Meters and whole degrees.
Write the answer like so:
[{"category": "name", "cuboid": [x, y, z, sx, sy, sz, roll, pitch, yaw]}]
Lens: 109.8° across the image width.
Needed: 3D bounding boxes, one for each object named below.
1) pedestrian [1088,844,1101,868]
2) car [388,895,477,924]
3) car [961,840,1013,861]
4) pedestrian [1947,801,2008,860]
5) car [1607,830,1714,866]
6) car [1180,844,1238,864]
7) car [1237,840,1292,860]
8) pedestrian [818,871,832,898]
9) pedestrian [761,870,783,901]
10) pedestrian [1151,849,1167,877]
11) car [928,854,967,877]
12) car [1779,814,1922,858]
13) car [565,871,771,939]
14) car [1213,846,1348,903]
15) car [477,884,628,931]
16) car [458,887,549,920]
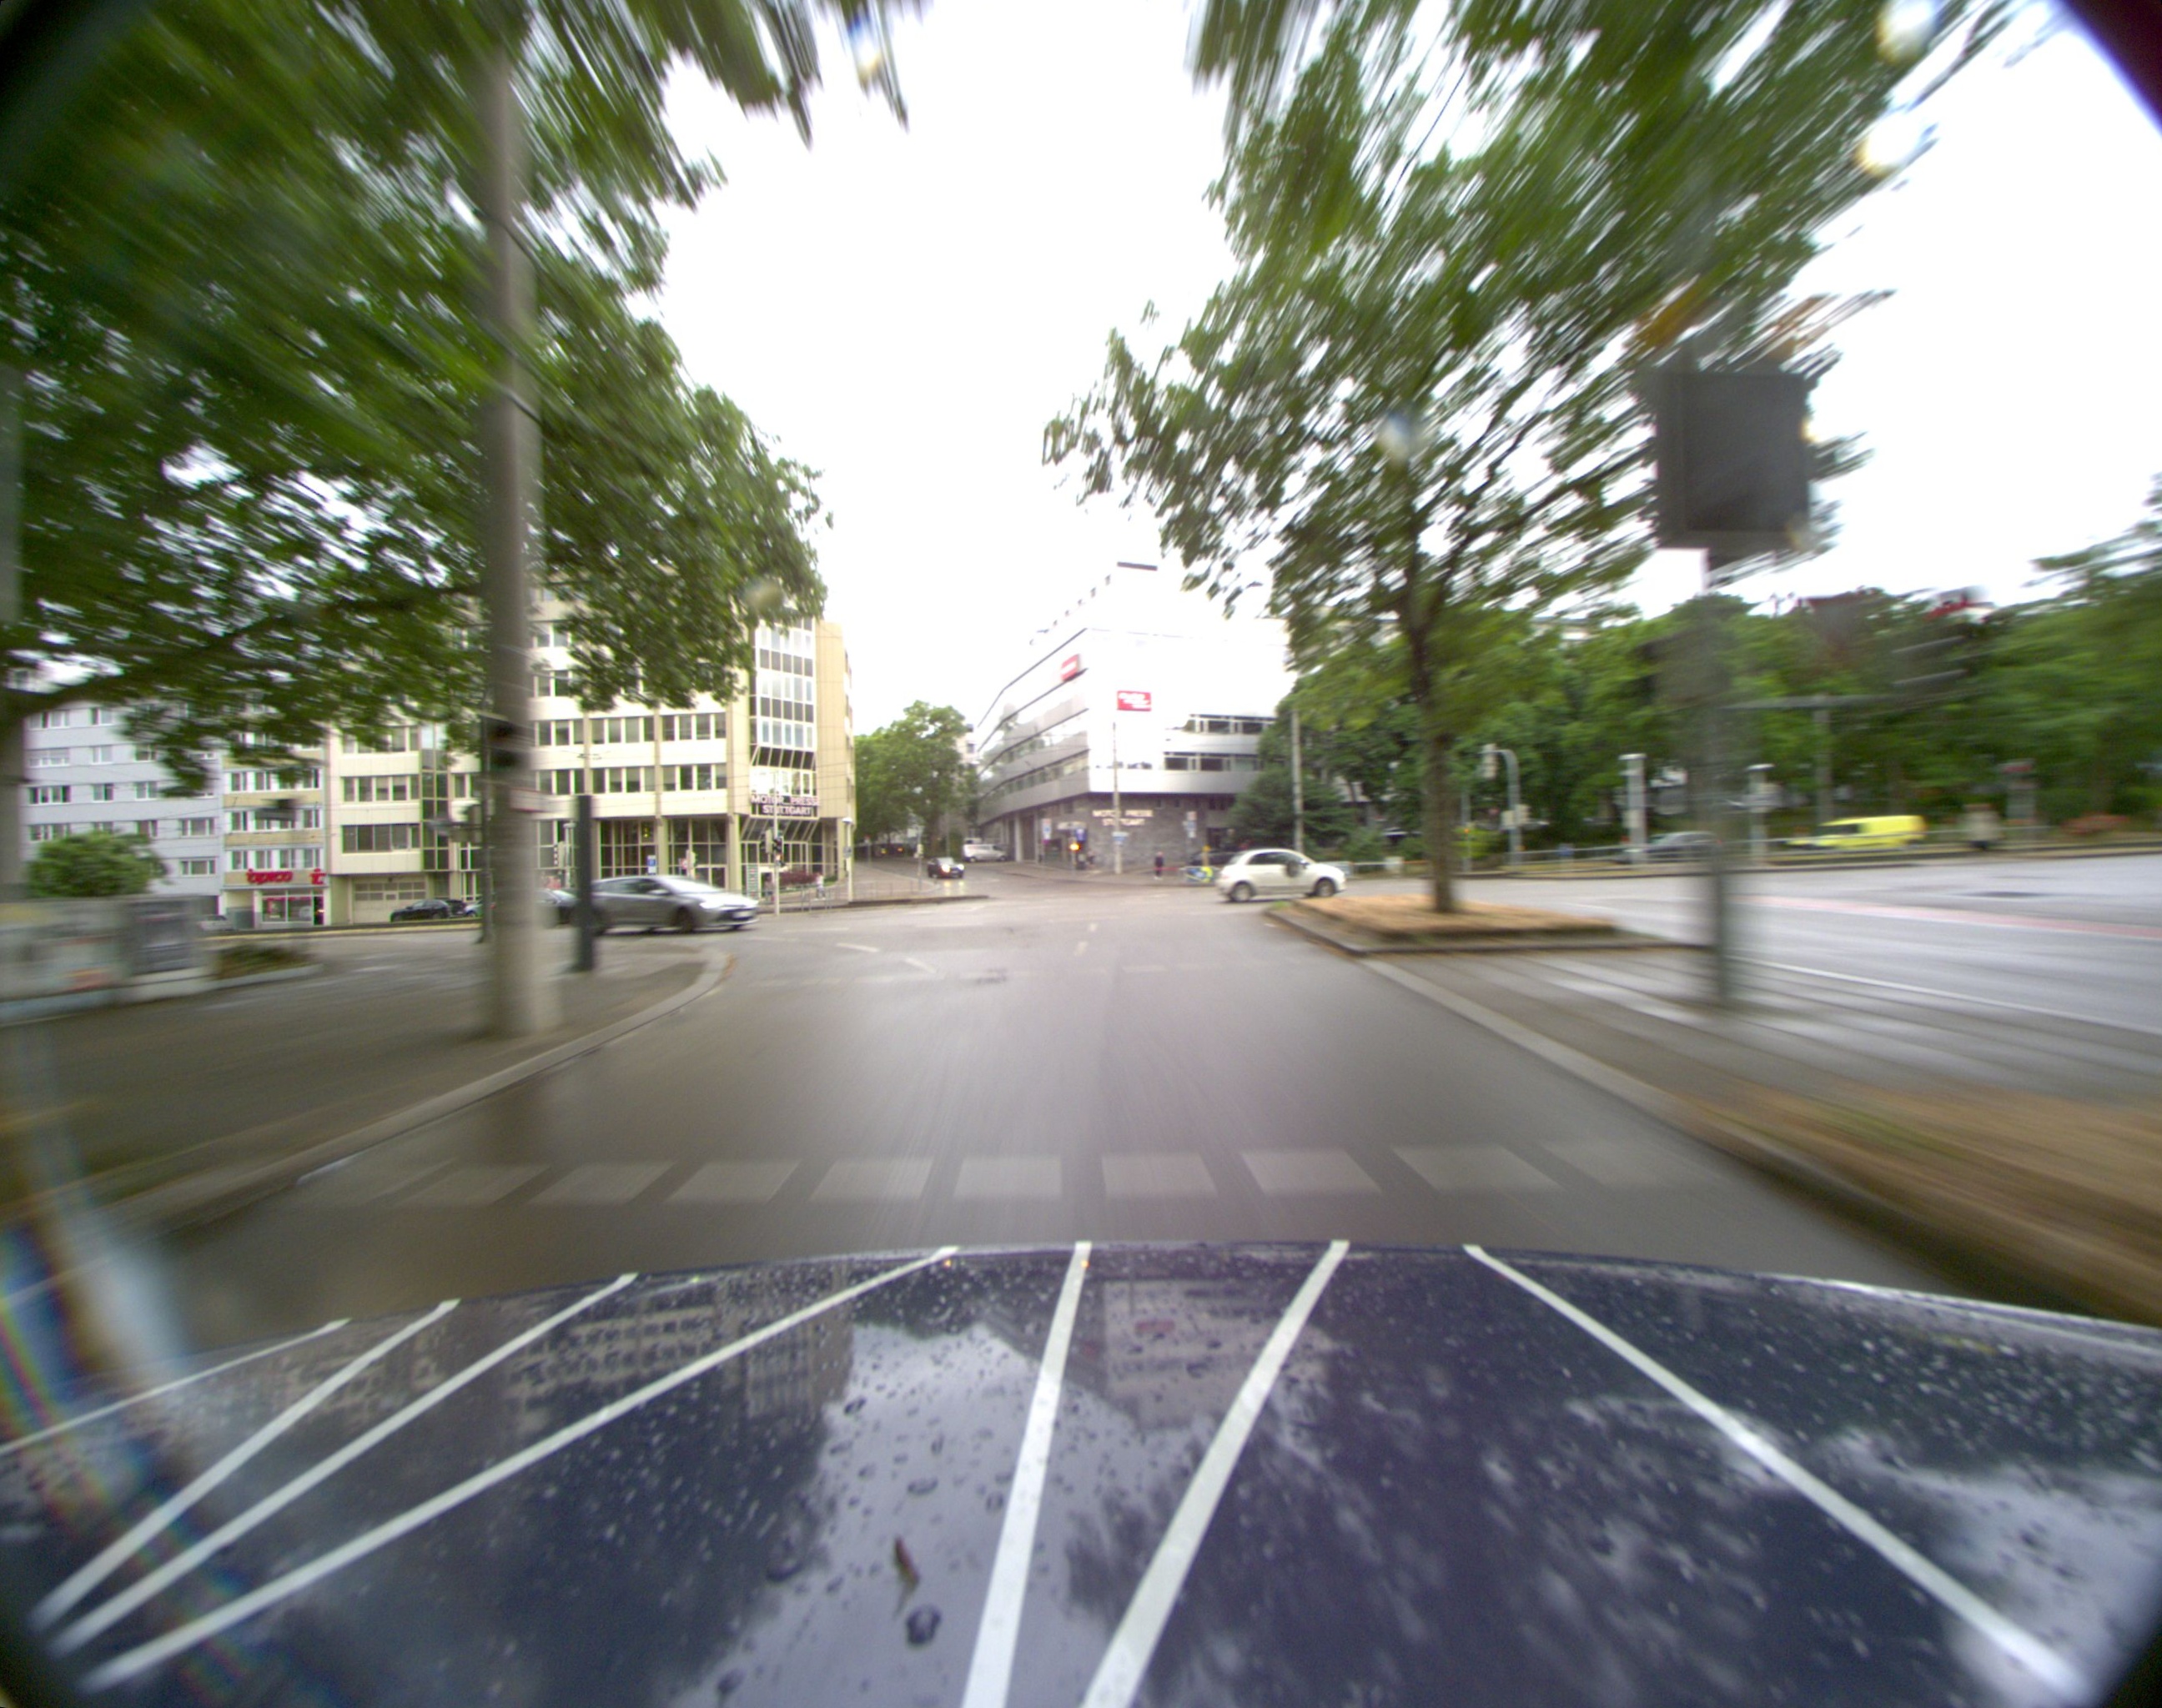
[{"category": "pedestrian", "cuboid": [1.103, 0.145, 61.284, 0.761, 1.850, 0.719, -5, 1, -18]}, {"category": "car", "cuboid": [-40.008, 3.396, 46.939, 4.073, 1.504, 1.802, -3, 0, 6]}, {"category": "car", "cuboid": [-10.332, -0.372, 83.451, 5.416, 2.001, 1.998, -2, -2, -16]}, {"category": "pedestrian", "cuboid": [28.776, -0.740, 24.389, 0.868, 1.792, 0.872, -3, 0, -5]}, {"category": "car", "cuboid": [28.541, -0.275, 37.502, 3.676, 1.536, 1.927, -2, -1, 6]}, {"category": "car", "cuboid": [10.187, -0.007, 60.536, 4.098, 1.422, 1.875, -3, 0, -24]}, {"category": "car", "cuboid": [15.126, -0.331, 62.707, 4.004, 1.422, 1.875, -3, 0, -24]}, {"category": "pedestrian", "cuboid": [-15.917, 1.864, 47.214, 0.720, 1.629, 0.759, -2, 1, -21]}, {"category": "pedestrian", "cuboid": [-18.467, 1.871, 45.374, 0.829, 1.776, 0.761, -2, 1, 26]}, {"category": "pedestrian", "cuboid": [5.257, 0.593, 51.220, 0.720, 1.850, 0.847, -3, 1, -21]}, {"category": "car", "cuboid": [-11.058, 0.915, 62.701, 2.002, 1.572, 4.876, -3, 3, -24]}, {"category": "car", "cuboid": [36.789, -0.844, 36.431, 4.561, 1.839, 1.927, -2, -1, 6]}, {"category": "car", "cuboid": [-10.057, 1.243, 18.593, 4.290, 1.425, 1.815, -3, -2, 13]}, {"category": "car", "cuboid": [5.675, 0.598, 21.919, 3.436, 1.425, 1.657, -3, -2, 3]}, {"category": "car", "cuboid": [-18.527, 1.876, 26.677, 4.467, 1.433, 1.804, -3, -2, 13]}, {"category": "car", "cuboid": [-35.091, 3.006, 46.246, 4.212, 1.736, 1.802, -3, 0, 5]}]
